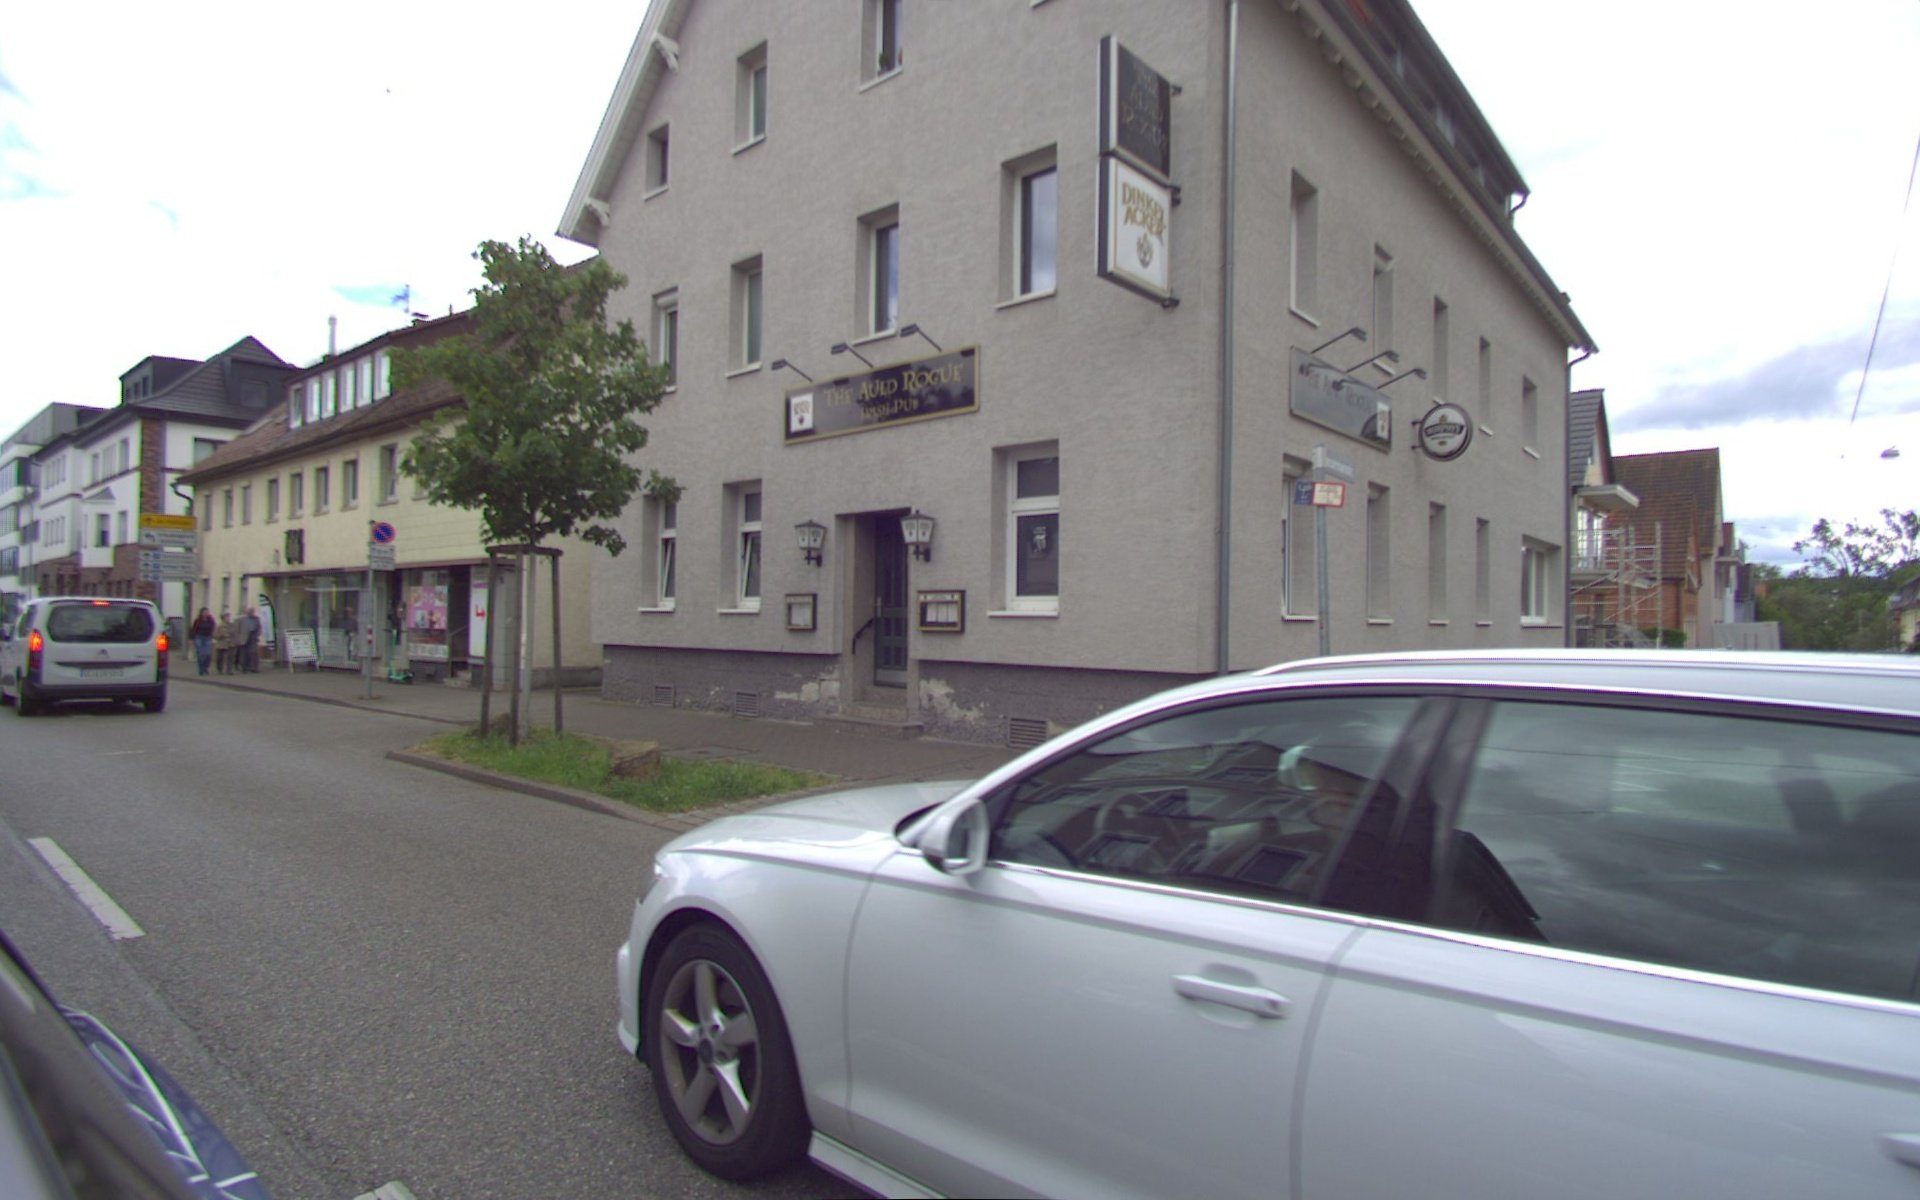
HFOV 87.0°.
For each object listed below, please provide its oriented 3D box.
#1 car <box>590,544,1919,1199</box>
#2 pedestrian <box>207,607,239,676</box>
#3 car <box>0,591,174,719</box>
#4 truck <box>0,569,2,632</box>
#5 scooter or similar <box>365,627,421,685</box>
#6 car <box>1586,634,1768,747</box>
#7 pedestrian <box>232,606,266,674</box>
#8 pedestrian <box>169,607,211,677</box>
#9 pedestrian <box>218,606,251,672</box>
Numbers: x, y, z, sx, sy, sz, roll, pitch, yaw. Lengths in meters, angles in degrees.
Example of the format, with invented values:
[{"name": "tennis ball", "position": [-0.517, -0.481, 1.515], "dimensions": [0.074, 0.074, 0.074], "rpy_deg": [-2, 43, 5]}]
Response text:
[{"name": "car", "position": [1.251, 0.703, 2.111], "dimensions": [4.541, 1.444, 1.823], "rpy_deg": [-1, -3, 41]}, {"name": "pedestrian", "position": [-18.830, 1.048, 25.858], "dimensions": [0.648, 1.750, 0.491], "rpy_deg": [-1, -2, 41]}, {"name": "car", "position": [-14.548, 0.836, 16.471], "dimensions": [4.275, 1.810, 1.972], "rpy_deg": [-1, -3, 41]}, {"name": "truck", "position": [-48.648, 0.065, 49.114], "dimensions": [5.959, 2.993, 2.438], "rpy_deg": [-1, -1, 40]}, {"name": "scooter or similar", "position": [-12.358, 1.199, 22.034], "dimensions": [1.721, 1.179, 0.522], "rpy_deg": [-1, -1, 41]}, {"name": "car", "position": [11.479, 1.345, 16.107], "dimensions": [1.780, 1.492, 3.943], "rpy_deg": [-4, -3, 43]}, {"name": "pedestrian", "position": [-18.472, 1.031, 26.282], "dimensions": [0.648, 1.750, 0.547], "rpy_deg": [-1, -2, 41]}, {"name": "pedestrian", "position": [-19.556, 1.057, 25.705], "dimensions": [0.717, 1.750, 0.670], "rpy_deg": [-1, -2, 41]}, {"name": "pedestrian", "position": [-19.506, 1.042, 27.196], "dimensions": [0.648, 1.750, 0.547], "rpy_deg": [-1, -2, 41]}]
